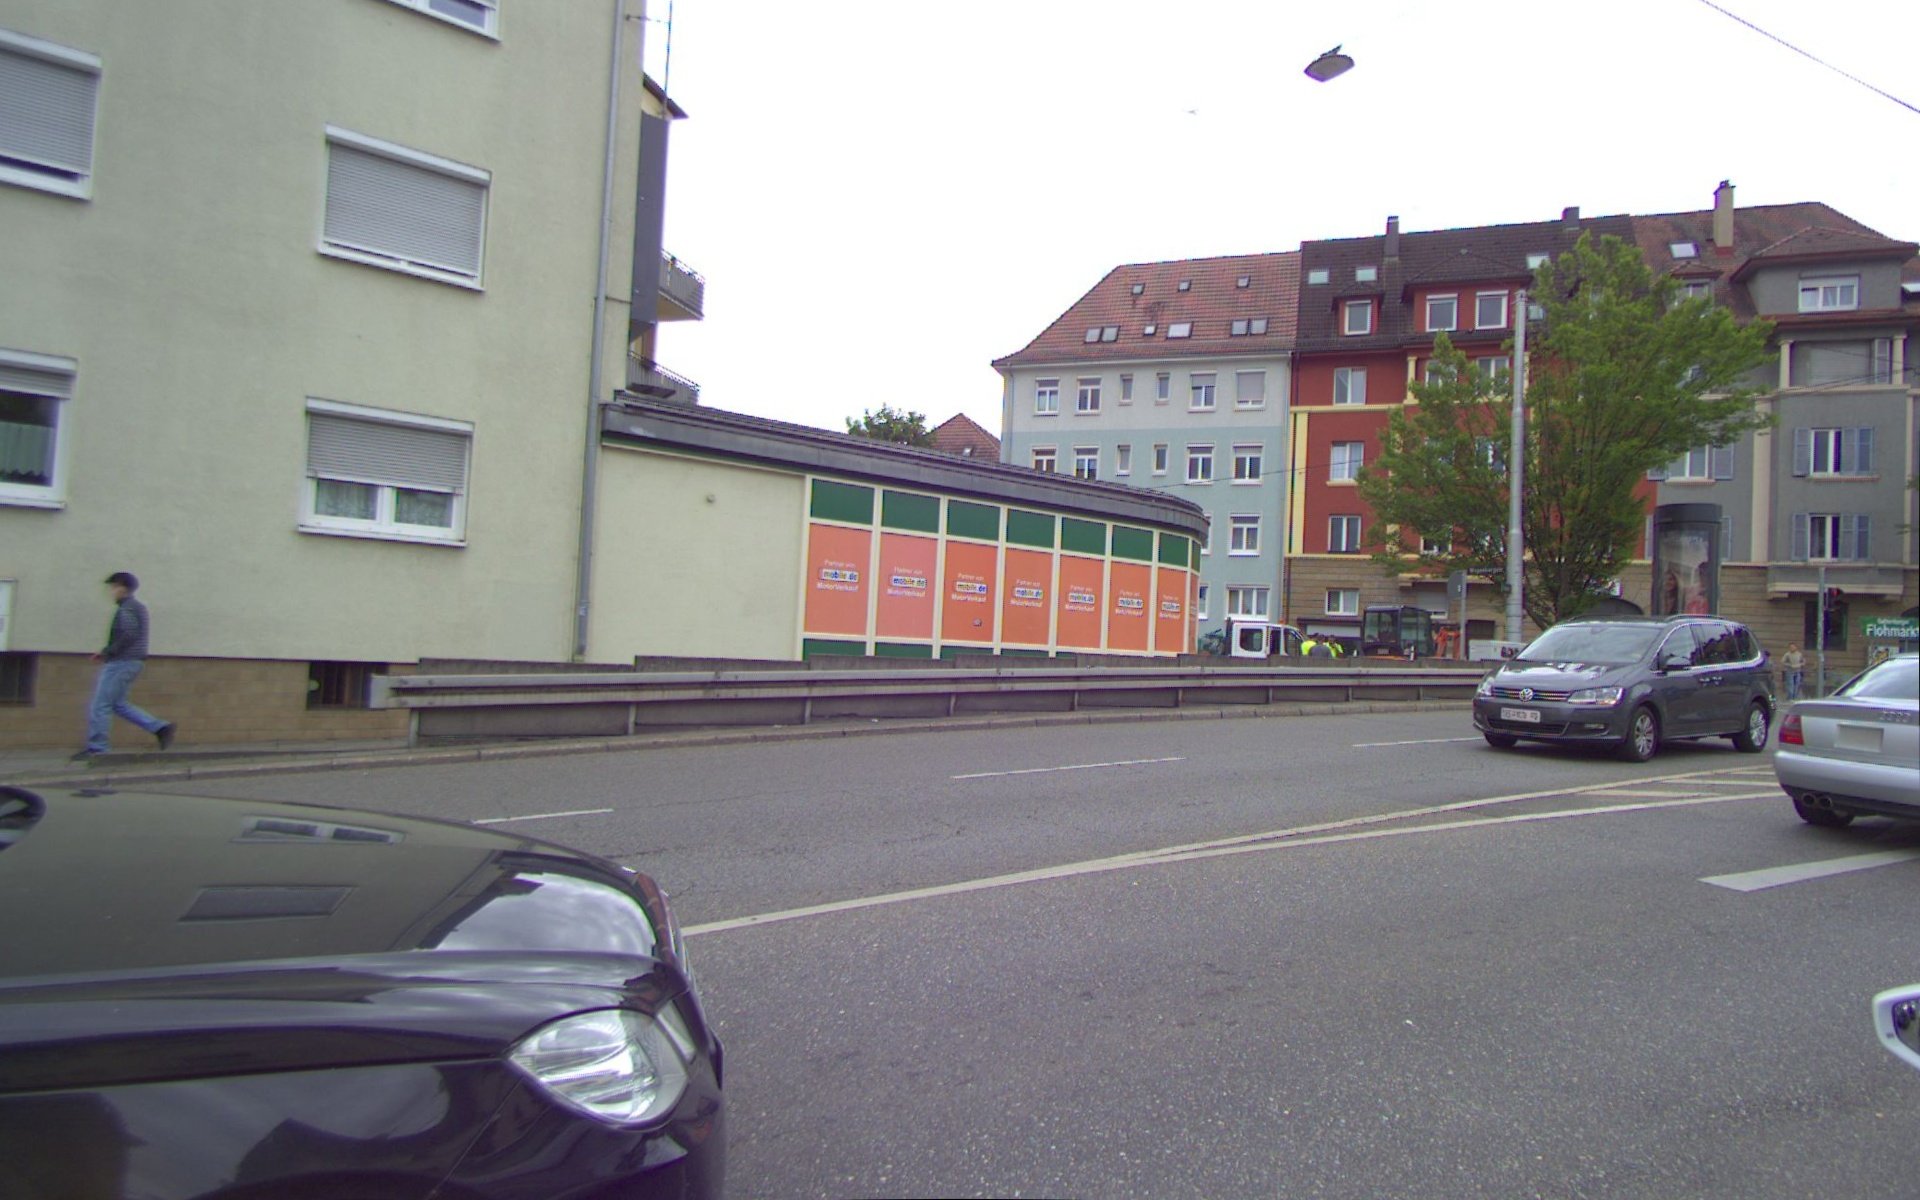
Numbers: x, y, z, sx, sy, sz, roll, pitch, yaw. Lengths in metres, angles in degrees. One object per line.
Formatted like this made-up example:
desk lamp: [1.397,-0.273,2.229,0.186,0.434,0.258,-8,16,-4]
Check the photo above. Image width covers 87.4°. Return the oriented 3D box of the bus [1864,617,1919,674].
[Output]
bus: [54.262,2.523,54.056,3.103,3.137,12.158,2,-1,15]

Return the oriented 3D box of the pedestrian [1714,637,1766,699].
pedestrian: [20.335,1.764,26.201,0.725,1.567,0.794,1,-1,-9]

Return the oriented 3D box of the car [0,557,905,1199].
car: [-2.645,0.636,1.207,4.788,1.448,1.983,2,-1,-32]

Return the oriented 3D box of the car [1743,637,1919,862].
car: [7.878,1.029,7.432,4.073,1.383,1.623,2,0,-25]

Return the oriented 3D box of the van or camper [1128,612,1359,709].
van or camper: [7.975,1.620,28.210,5.891,2.369,2.687,1,-1,24]

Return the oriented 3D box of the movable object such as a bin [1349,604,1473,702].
movable object such as a bin: [10.218,1.163,22.663,3.513,2.040,1.361,3,-2,-44]

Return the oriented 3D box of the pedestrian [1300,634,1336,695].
pedestrian: [8.292,1.480,23.285,0.613,1.381,0.602,1,-1,2]

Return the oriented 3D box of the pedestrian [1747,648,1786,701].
pedestrian: [21.094,1.950,26.277,0.573,1.356,0.575,1,-1,-10]

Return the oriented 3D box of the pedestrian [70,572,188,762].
pedestrian: [-7.684,0.597,9.300,0.773,1.658,0.682,2,-1,-41]

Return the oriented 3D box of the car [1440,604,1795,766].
car: [8.444,0.996,12.809,4.663,1.737,1.895,2,-1,-30]

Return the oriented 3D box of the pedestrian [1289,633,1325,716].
pedestrian: [8.872,1.885,25.693,0.810,2.040,0.680,1,-1,19]

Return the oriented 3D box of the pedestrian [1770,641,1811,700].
pedestrian: [21.758,1.834,26.310,0.642,1.507,0.523,1,-1,-10]
